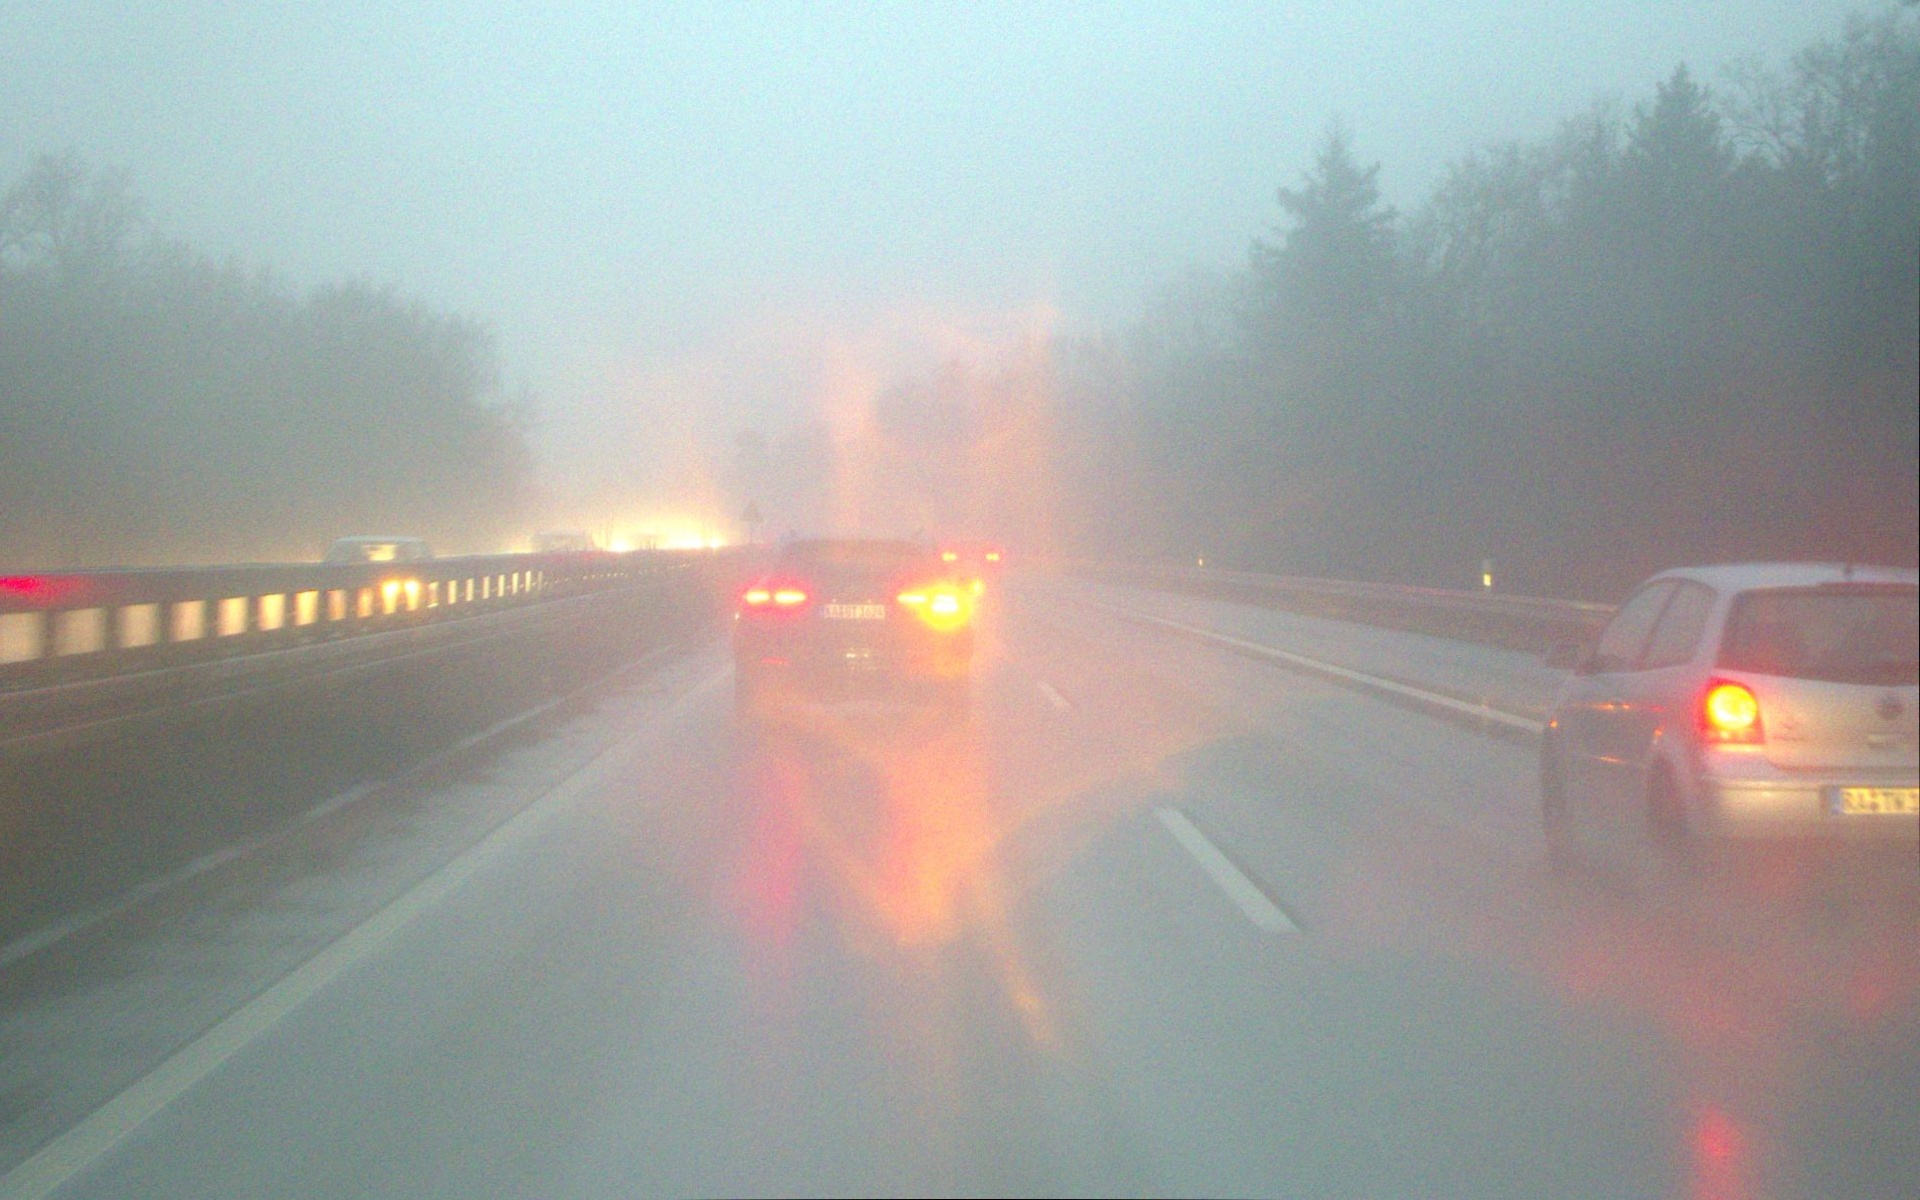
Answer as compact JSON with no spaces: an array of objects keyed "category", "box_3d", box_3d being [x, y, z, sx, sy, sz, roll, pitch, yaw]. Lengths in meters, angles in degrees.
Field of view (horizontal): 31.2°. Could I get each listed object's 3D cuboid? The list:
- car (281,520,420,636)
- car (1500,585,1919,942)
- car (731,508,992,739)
[{"category":"car","box_3d":[-9.015,-0.347,51.023,1.467,1.650,3.639,0,1,-1]},{"category":"car","box_3d":[3.731,0.679,16.145,1.780,1.432,3.537,1,1,-1]},{"category":"car","box_3d":[-0.837,0.139,28.581,1.986,1.761,4.174,1,1,-2]}]
